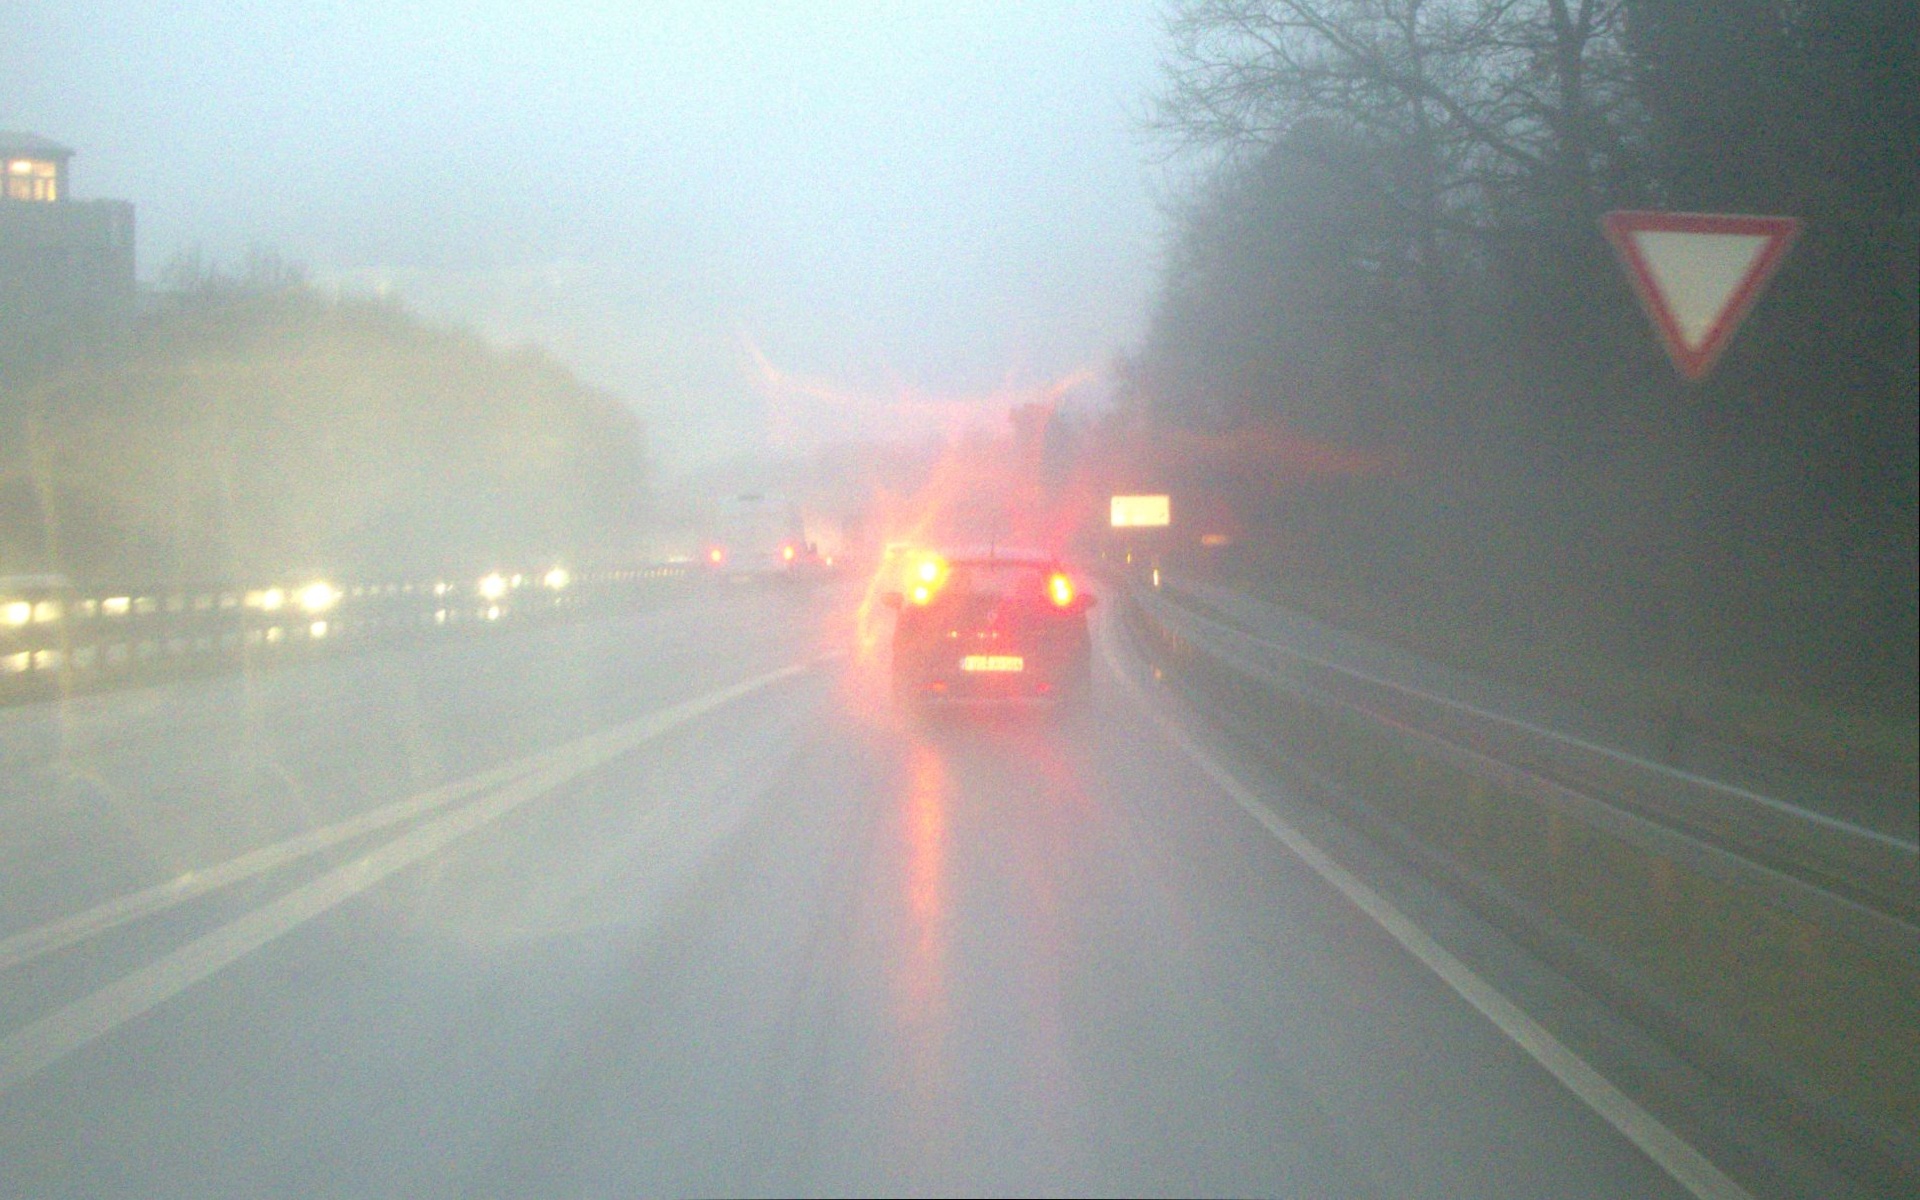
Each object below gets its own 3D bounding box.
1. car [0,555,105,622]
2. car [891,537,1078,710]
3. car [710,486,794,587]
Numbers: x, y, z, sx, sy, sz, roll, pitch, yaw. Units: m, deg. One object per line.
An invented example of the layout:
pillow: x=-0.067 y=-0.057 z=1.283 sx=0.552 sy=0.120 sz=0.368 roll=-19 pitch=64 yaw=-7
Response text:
car: x=-19.430 y=-0.267 z=72.455 sx=1.545 sy=1.317 sz=4.257 roll=1 pitch=1 yaw=3
car: x=0.187 y=0.165 z=30.424 sx=1.527 sy=1.411 sz=3.479 roll=1 pitch=1 yaw=-1
car: x=-5.252 y=-1.612 z=87.167 sx=2.000 sy=2.445 sz=4.001 roll=1 pitch=1 yaw=-3
